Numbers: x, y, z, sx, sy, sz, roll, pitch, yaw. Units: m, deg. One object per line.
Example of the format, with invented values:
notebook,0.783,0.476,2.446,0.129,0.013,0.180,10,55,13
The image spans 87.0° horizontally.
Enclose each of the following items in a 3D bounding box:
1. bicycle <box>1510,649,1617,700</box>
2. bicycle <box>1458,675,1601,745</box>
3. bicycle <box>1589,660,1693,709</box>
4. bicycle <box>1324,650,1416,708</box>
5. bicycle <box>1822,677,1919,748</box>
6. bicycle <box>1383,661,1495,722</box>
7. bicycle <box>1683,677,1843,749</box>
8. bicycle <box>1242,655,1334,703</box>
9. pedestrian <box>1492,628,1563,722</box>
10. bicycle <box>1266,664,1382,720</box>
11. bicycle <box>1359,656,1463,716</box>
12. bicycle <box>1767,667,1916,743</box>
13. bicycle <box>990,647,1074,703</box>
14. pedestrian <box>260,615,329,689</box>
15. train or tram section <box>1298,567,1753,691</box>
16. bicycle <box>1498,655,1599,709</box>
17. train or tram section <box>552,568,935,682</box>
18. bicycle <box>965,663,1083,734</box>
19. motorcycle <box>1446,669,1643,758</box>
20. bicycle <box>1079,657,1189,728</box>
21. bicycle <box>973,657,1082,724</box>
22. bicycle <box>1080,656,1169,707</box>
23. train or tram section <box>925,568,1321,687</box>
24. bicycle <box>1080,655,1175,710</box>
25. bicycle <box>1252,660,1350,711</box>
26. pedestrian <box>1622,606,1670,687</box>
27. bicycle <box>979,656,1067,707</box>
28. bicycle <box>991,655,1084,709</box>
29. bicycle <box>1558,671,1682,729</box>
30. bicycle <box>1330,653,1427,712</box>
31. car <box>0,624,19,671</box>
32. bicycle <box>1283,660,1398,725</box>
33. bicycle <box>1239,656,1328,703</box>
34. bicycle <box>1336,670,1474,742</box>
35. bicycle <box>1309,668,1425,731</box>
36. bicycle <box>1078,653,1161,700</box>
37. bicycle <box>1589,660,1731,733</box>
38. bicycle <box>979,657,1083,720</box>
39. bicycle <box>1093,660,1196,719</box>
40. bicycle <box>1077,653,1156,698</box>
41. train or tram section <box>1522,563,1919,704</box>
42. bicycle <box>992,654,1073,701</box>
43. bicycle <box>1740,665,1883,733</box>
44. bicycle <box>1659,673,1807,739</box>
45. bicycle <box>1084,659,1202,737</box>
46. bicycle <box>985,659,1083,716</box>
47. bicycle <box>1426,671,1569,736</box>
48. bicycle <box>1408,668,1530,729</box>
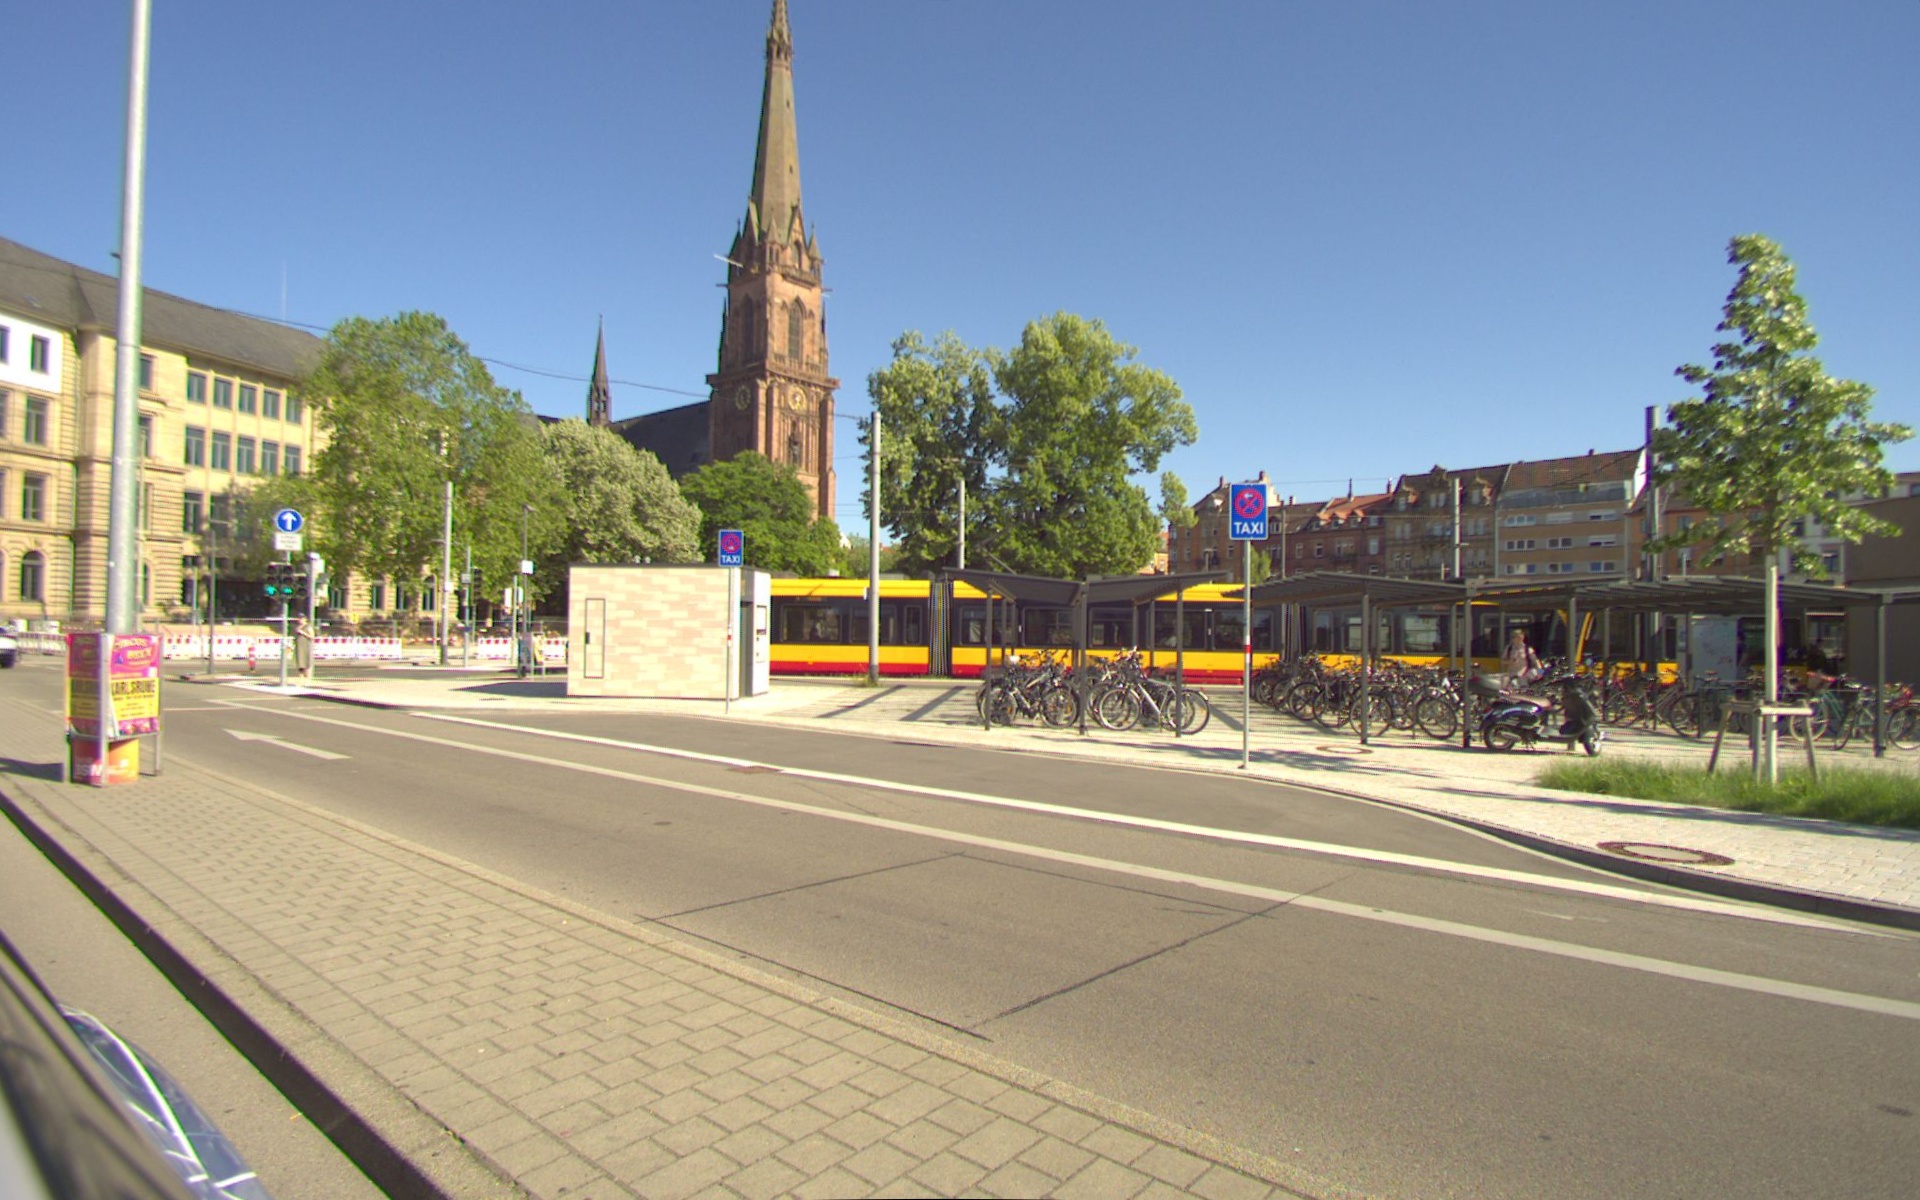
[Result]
bicycle,12.732,1.565,21.382,1.809,1.015,0.627,0,-2,9
bicycle,8.815,1.690,15.724,1.808,1.015,0.627,0,-2,7
bicycle,15.098,1.867,22.481,1.808,1.015,0.627,0,-2,7
bicycle,9.281,1.780,22.950,1.808,1.242,0.627,0,-2,7
bicycle,14.067,1.673,15.152,1.803,1.015,0.629,0,-2,-3
bicycle,9.120,1.737,19.336,1.808,1.088,0.627,0,-2,7
bicycle,12.206,1.704,15.424,1.809,1.015,0.627,0,-2,9
bicycle,7.166,1.718,22.183,1.807,1.015,0.628,0,-2,5
pedestrian,10.725,1.393,19.160,0.829,1.718,1.022,0,-2,7
bicycle,6.995,1.755,19.504,1.978,1.015,0.628,0,-2,4
bicycle,9.156,1.738,20.601,1.808,1.170,0.627,0,-2,7
bicycle,14.038,1.667,16.140,1.804,1.155,0.629,0,-2,0
bicycle,1.607,1.653,22.486,1.809,1.188,0.627,0,-2,9
pedestrian,-17.203,1.321,26.163,0.824,1.869,1.217,-1,-2,29
train or tram section,17.177,0.873,31.584,12.174,3.629,2.828,0,-2,6
bicycle,13.046,1.803,22.478,1.809,1.140,0.627,0,-2,9
train or tram section,-7.149,0.809,34.142,12.382,3.629,2.796,0,-2,6
bicycle,1.052,1.582,16.434,1.847,1.015,0.699,1,-2,9
motorcycle,8.216,1.589,14.307,2.333,1.167,0.610,0,-2,7
bicycle,2.956,1.575,17.347,1.808,1.157,0.627,0,-2,7
bicycle,1.162,1.538,17.308,1.809,1.074,0.627,0,-2,9
bicycle,3.423,1.689,21.195,1.808,1.015,0.627,0,-2,7
train or tram section,5.065,0.847,32.853,12.174,3.629,2.796,0,-2,6
bicycle,3.275,1.609,19.920,1.808,1.015,0.627,0,-2,7
bicycle,7.015,1.752,20.879,1.805,1.015,0.629,0,-2,0
pedestrian,16.226,1.086,23.946,0.700,1.869,0.751,2,-2,-38
bicycle,1.335,1.695,21.242,1.809,1.015,0.627,0,-2,9
bicycle,1.558,1.618,20.211,1.809,1.015,0.627,0,-2,9
bicycle,12.308,1.858,18.915,1.809,1.015,0.627,0,-2,9
bicycle,8.974,1.761,21.752,1.808,1.198,0.647,0,-2,7
car,-34.470,1.616,35.336,4.333,1.564,1.823,-1,-4,41
bicycle,6.922,1.675,18.483,1.859,1.101,0.626,0,-2,8
bicycle,7.296,1.783,22.871,1.808,1.015,0.627,0,-2,6
bicycle,7.024,1.666,16.051,1.871,1.050,0.688,0,-2,9
bicycle,6.900,1.677,17.205,1.731,1.015,0.547,0,-2,10
bicycle,3.555,1.706,22.681,1.808,1.015,0.627,0,-2,7
bicycle,12.344,1.687,17.876,2.029,1.218,0.505,0,-2,8
bicycle,1.259,1.544,17.836,1.809,1.059,0.571,0,-2,9
bicycle,3.367,1.633,18.612,1.808,1.015,0.745,0,-2,7
bicycle,3.677,1.763,23.881,1.808,1.015,0.627,0,-2,7
train or tram section,22.528,0.899,27.774,12.178,3.629,2.748,0,-2,7
bicycle,1.664,1.757,23.185,1.809,1.015,0.627,0,-2,9
bicycle,14.637,1.697,17.435,1.808,1.101,0.627,0,-2,7
bicycle,12.650,1.724,16.600,1.872,1.004,0.499,0,-2,13
bicycle,2.912,1.552,16.205,1.808,1.167,0.627,1,-2,7
bicycle,1.407,1.637,19.055,1.809,1.015,0.627,0,-2,9
bicycle,8.966,1.718,16.950,2.003,1.015,0.627,0,-2,7
bicycle,9.047,1.738,18.044,1.808,1.015,0.627,0,-2,7
